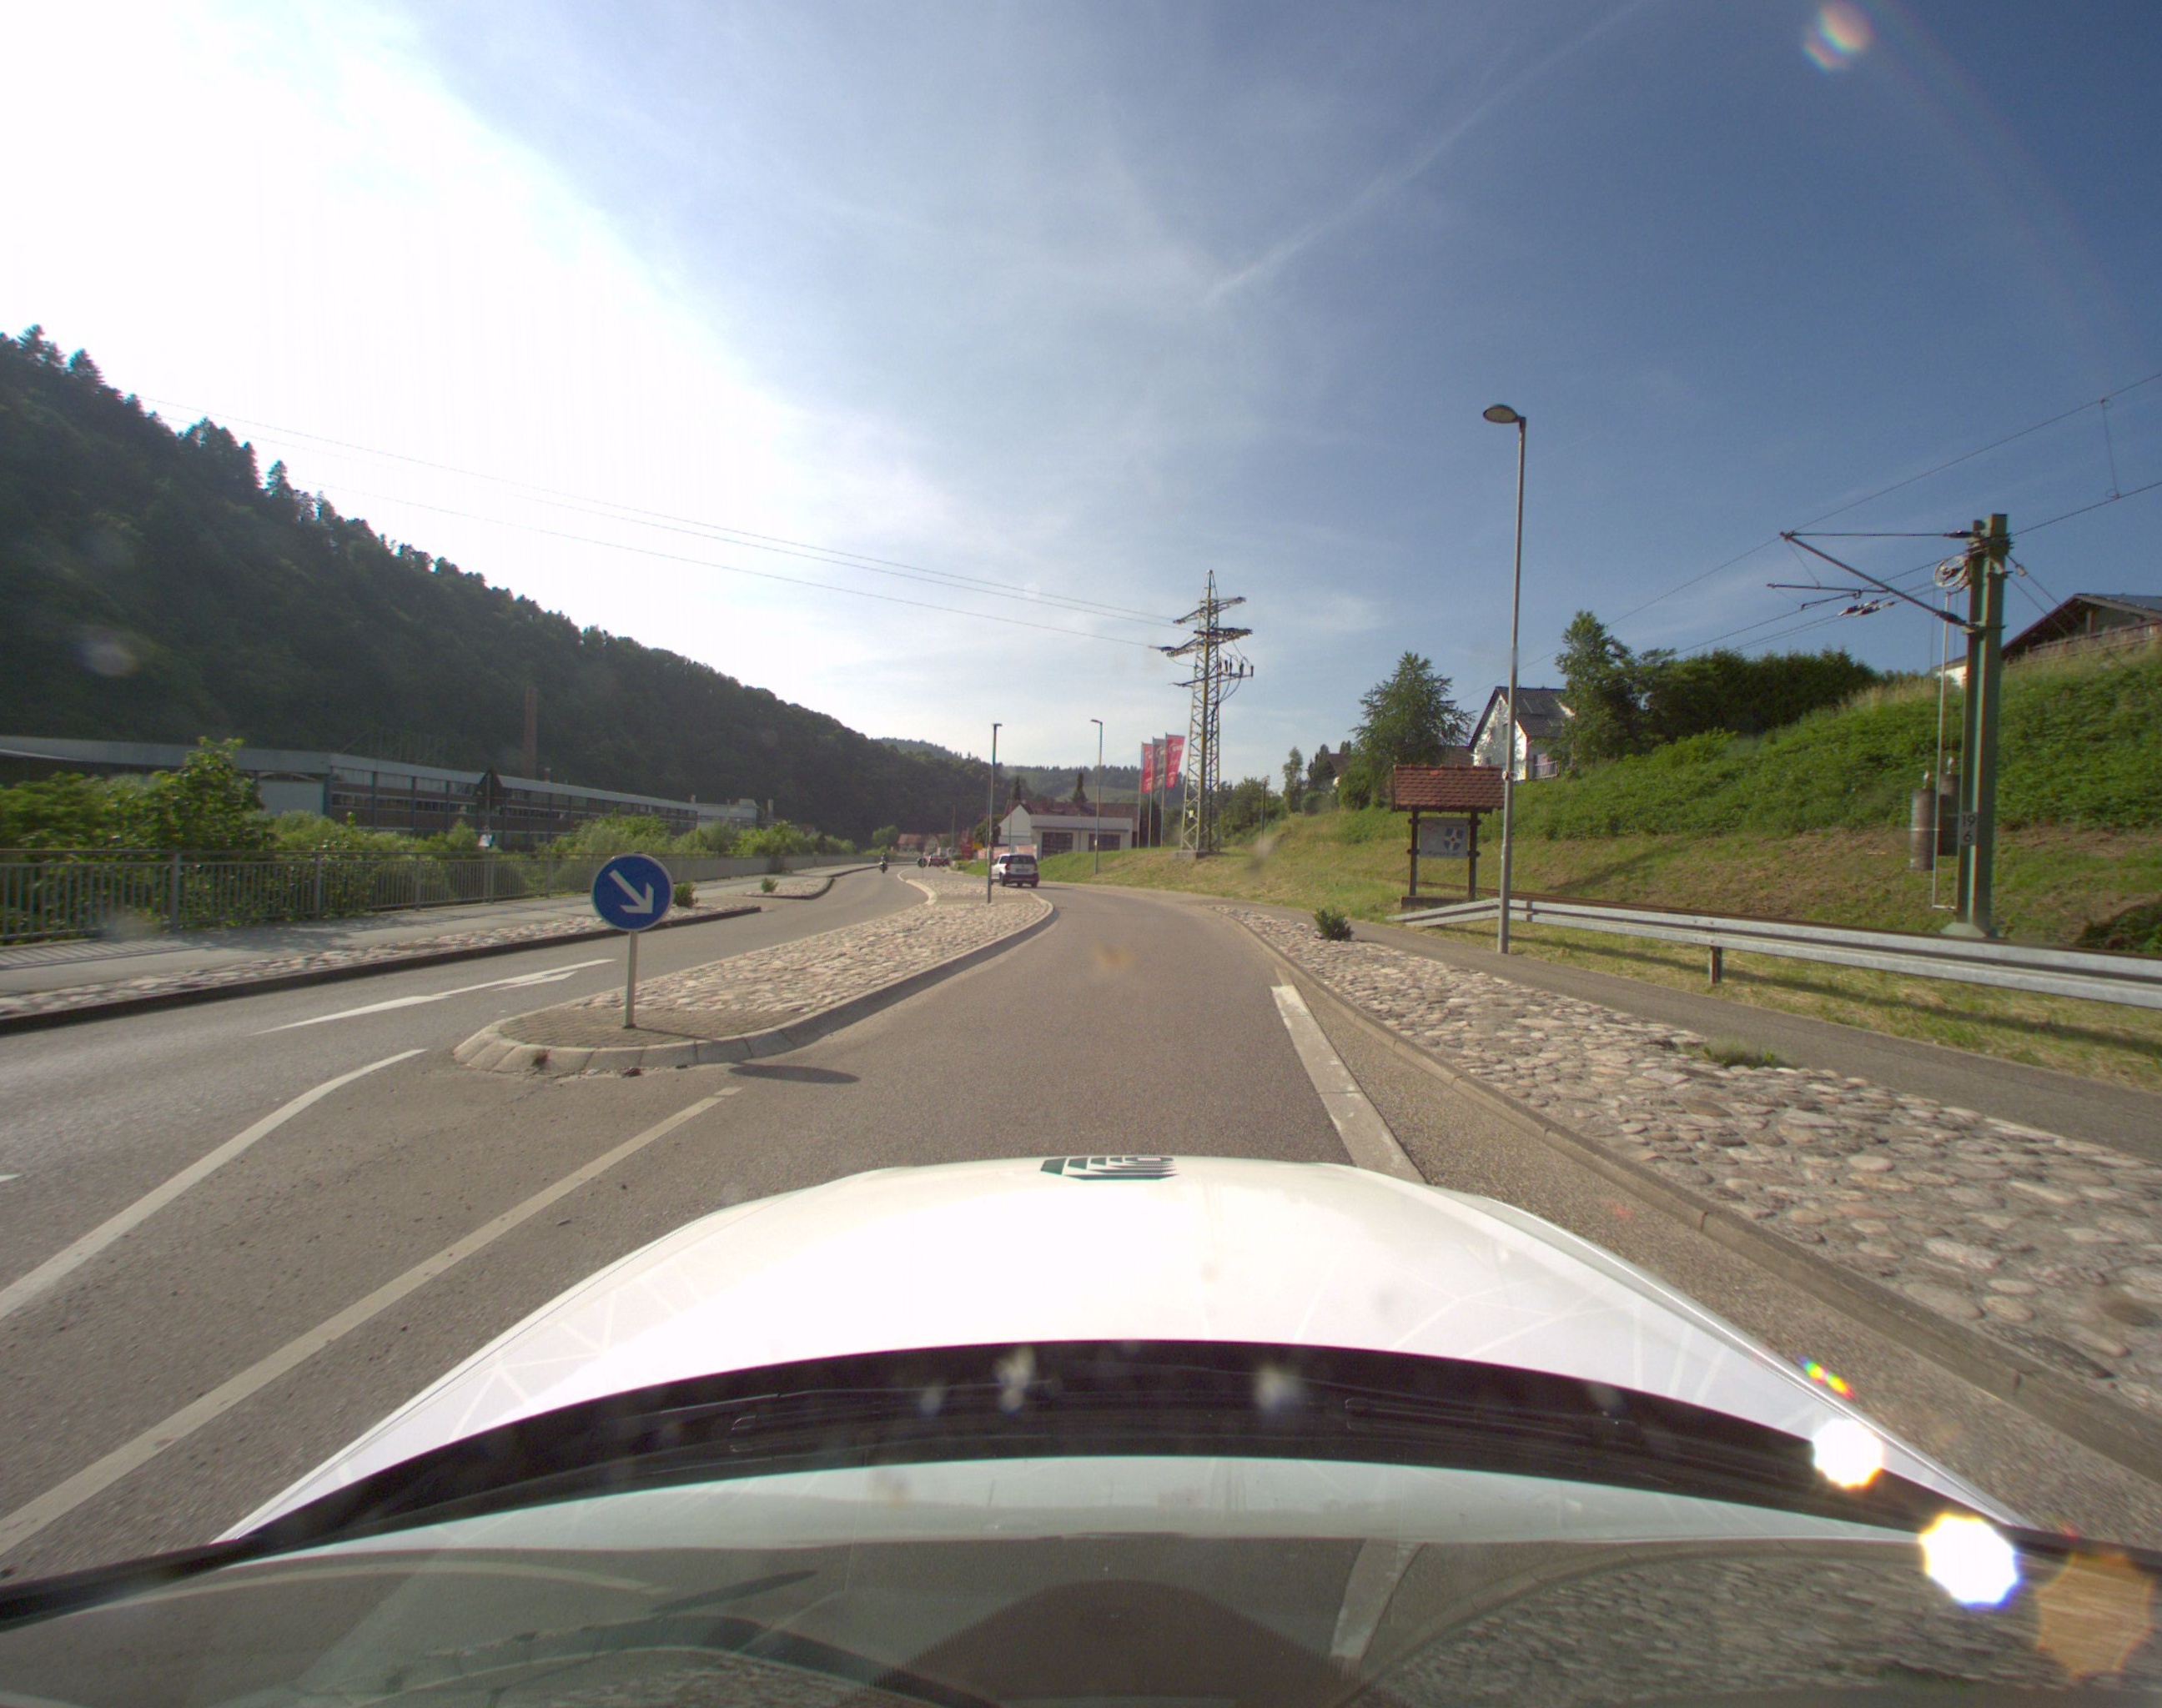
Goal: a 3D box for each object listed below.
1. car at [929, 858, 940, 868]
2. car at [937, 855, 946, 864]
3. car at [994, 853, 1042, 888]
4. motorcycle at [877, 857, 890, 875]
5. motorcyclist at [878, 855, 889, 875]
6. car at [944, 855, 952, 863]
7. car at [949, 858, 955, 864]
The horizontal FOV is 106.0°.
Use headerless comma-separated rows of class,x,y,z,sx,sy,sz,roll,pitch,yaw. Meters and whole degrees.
car,-23.986,1.500,133.693,1.452,1.435,2.930,3,0,-6
car,-24.503,0.969,143.394,1.355,1.435,2.832,3,0,-7
car,-3.141,0.798,39.878,1.861,1.544,4.358,3,-1,-10
motorcycle,-16.824,1.015,69.448,0.772,1.422,2.312,1,-1,-7
motorcyclist,-16.804,0.910,69.378,0.762,1.678,0.725,1,-2,-7
car,-25.196,0.917,154.386,1.291,1.435,2.799,3,0,-7
car,-26.307,1.422,165.839,1.170,1.155,2.674,3,0,-10
